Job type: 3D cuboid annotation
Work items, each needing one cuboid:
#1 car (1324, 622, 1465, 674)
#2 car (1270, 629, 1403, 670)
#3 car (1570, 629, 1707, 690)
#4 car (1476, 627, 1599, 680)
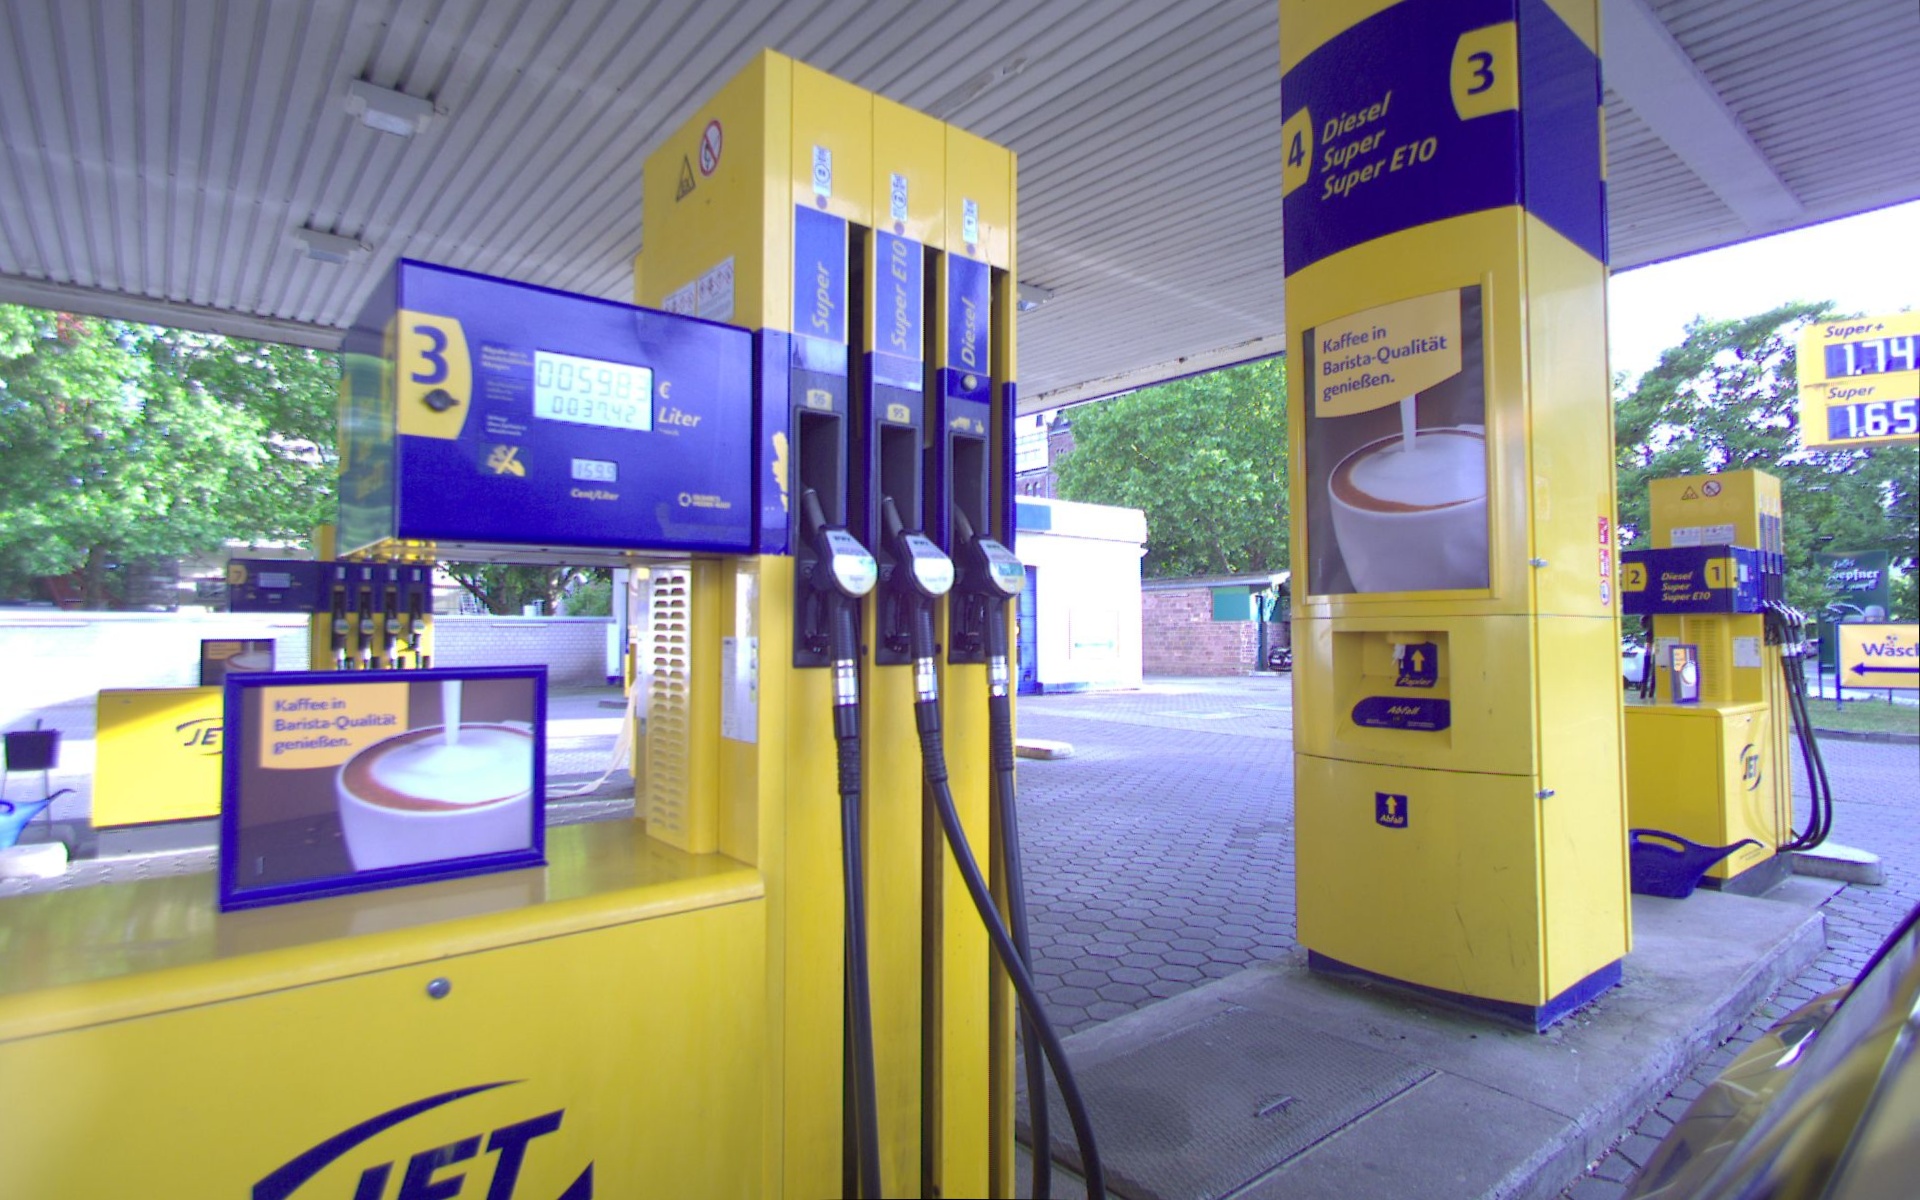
[{"bbox_3d":[13.792,1.546,32.139,4.134,1.544,1.791,2,-3,-24],"label":"car"},{"bbox_3d":[12.833,1.697,34.488,4.134,1.294,1.751,2,-3,-22],"label":"car"},{"bbox_3d":[18.224,1.560,27.152,3.923,1.529,1.740,2,-3,-35],"label":"car"},{"bbox_3d":[17.559,1.639,30.740,3.923,1.529,1.740,3,-3,-35],"label":"car"}]
